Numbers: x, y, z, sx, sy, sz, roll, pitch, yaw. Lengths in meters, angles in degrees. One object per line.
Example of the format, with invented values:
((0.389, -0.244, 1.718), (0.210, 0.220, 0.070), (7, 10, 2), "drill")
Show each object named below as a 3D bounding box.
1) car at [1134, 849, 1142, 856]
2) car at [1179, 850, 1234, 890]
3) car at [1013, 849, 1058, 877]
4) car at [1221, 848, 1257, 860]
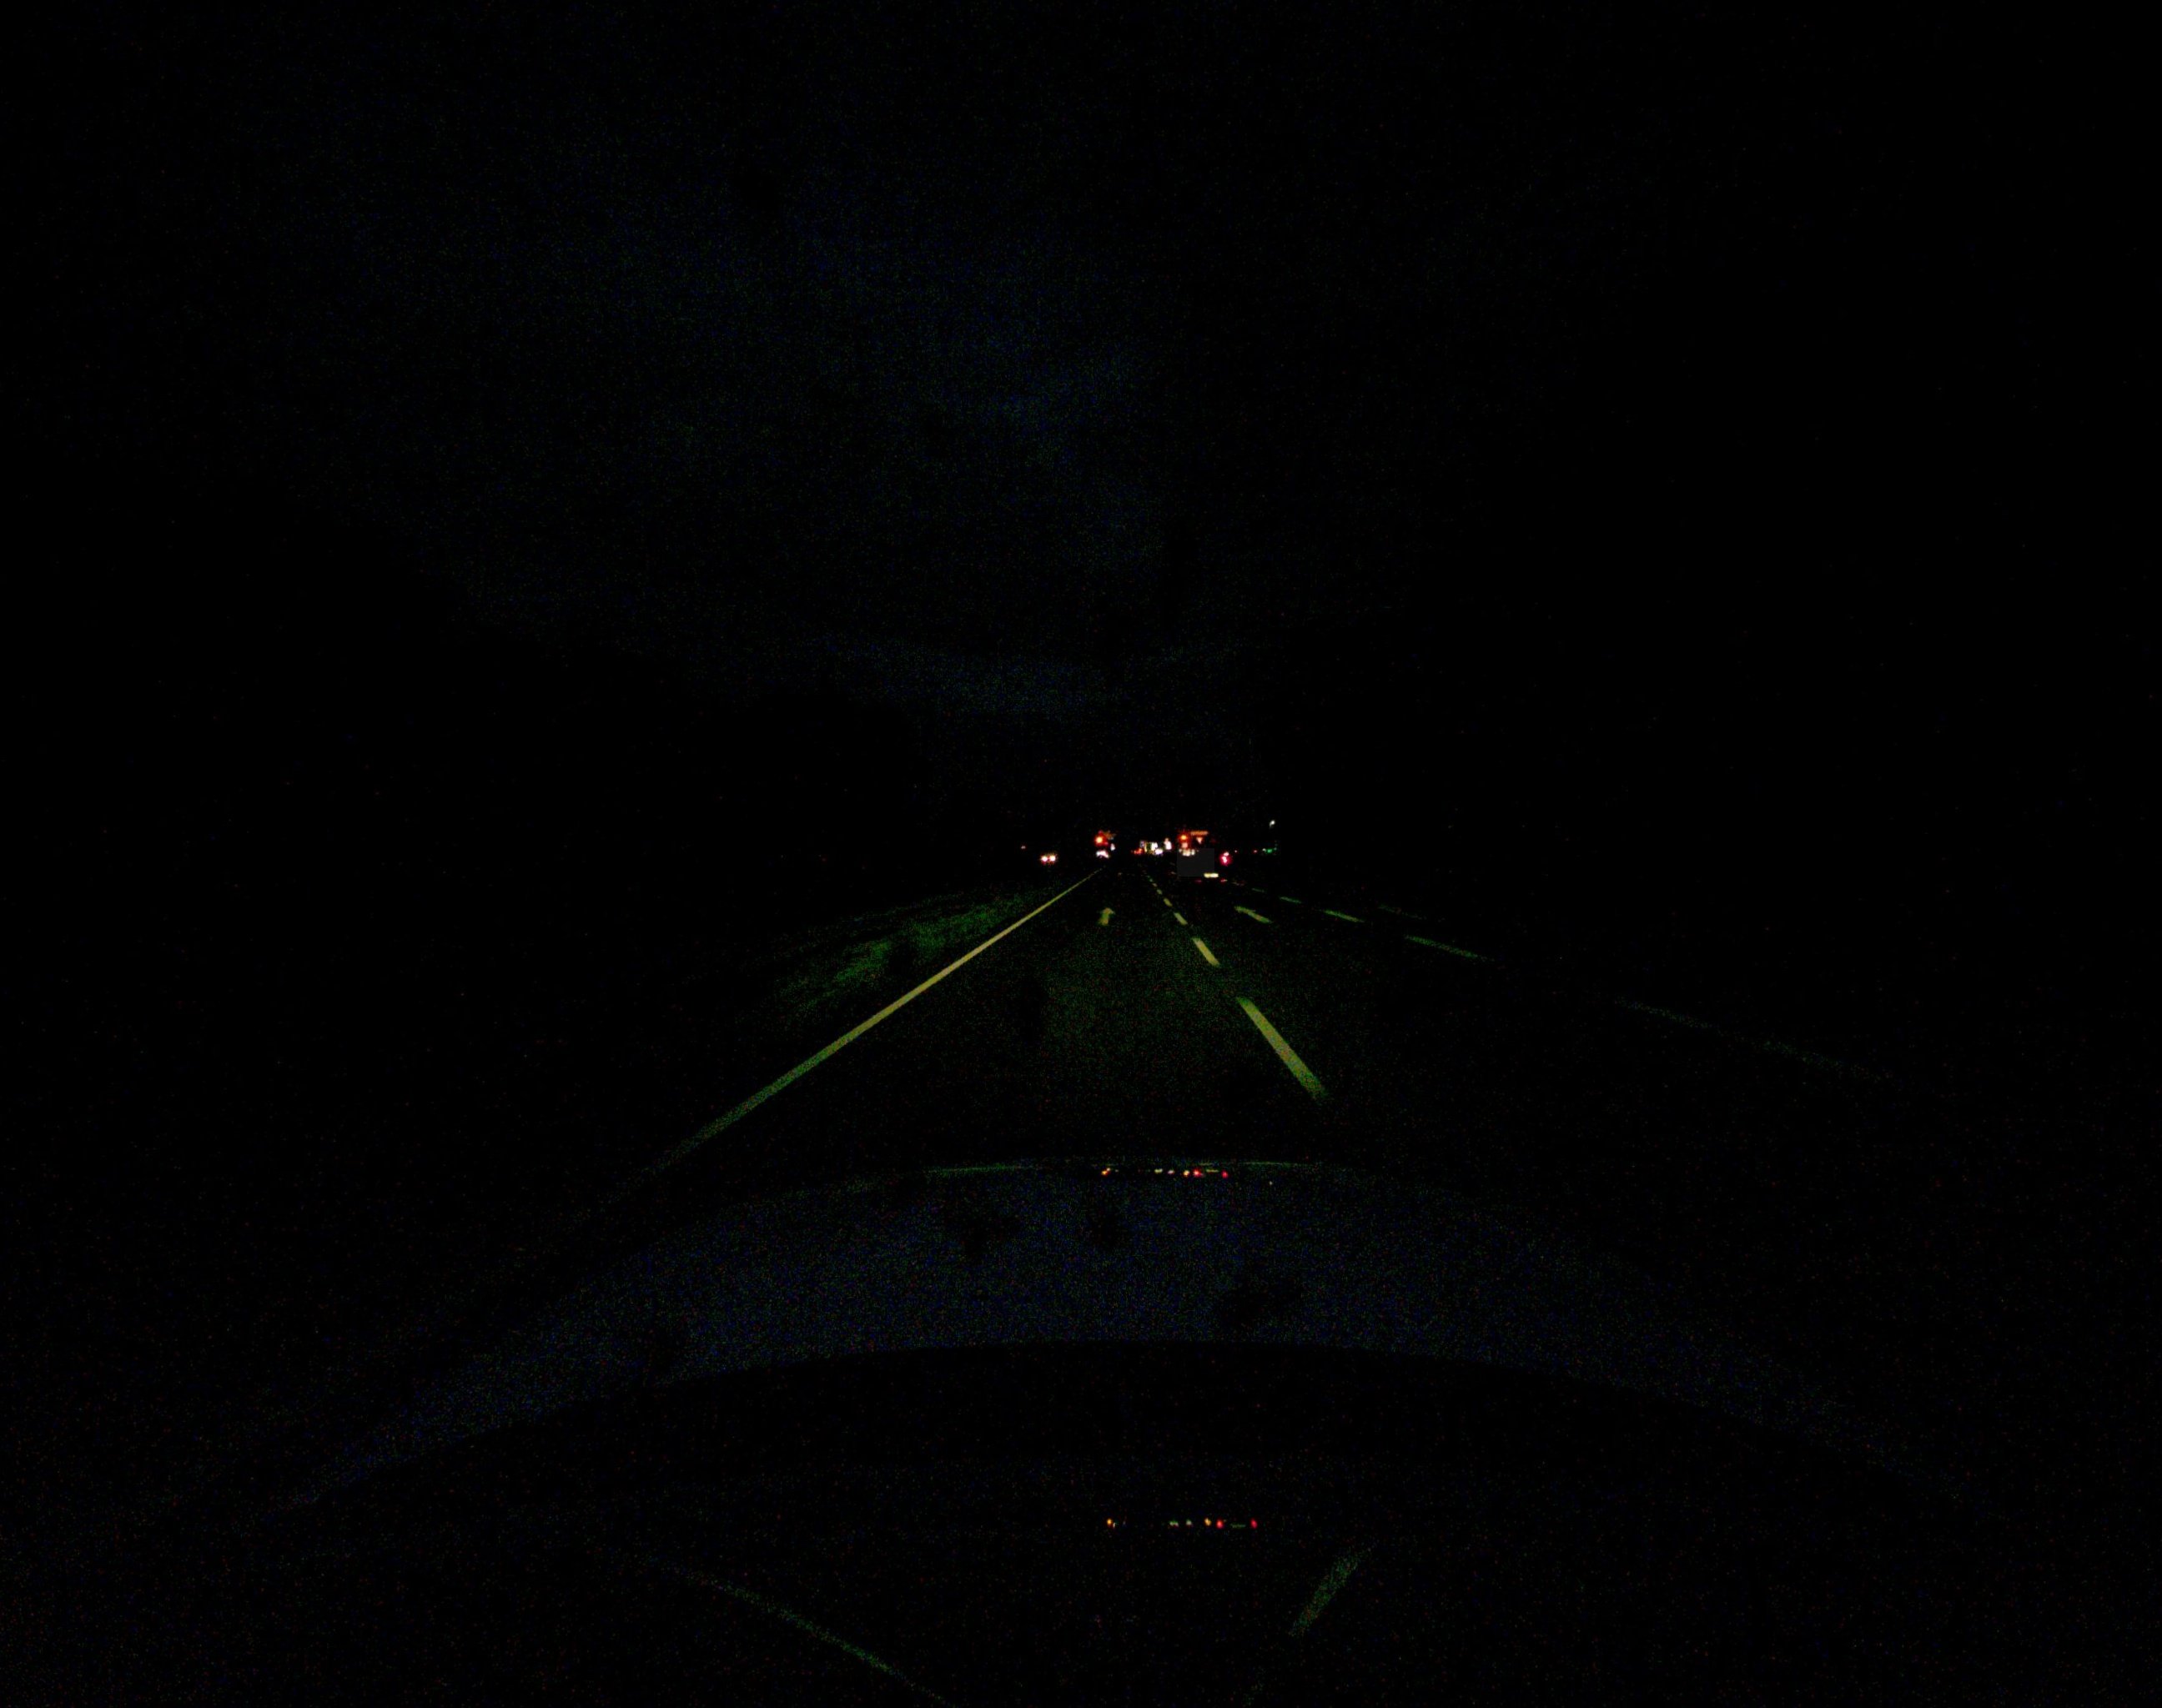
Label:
((16.527, -0.498, 234.818), (1.986, 1.750, 4.001), (-6, -1, 2), "car")
((5.059, 0.606, 33.302), (1.746, 1.453, 4.437), (-2, 0, 3), "car")
((-2.751, 0.540, 50.455), (1.985, 1.453, 4.740), (-6, -1, 4), "car")
((22.145, -0.013, 114.149), (4.694, 1.453, 2.004), (-2, 0, 6), "car")
